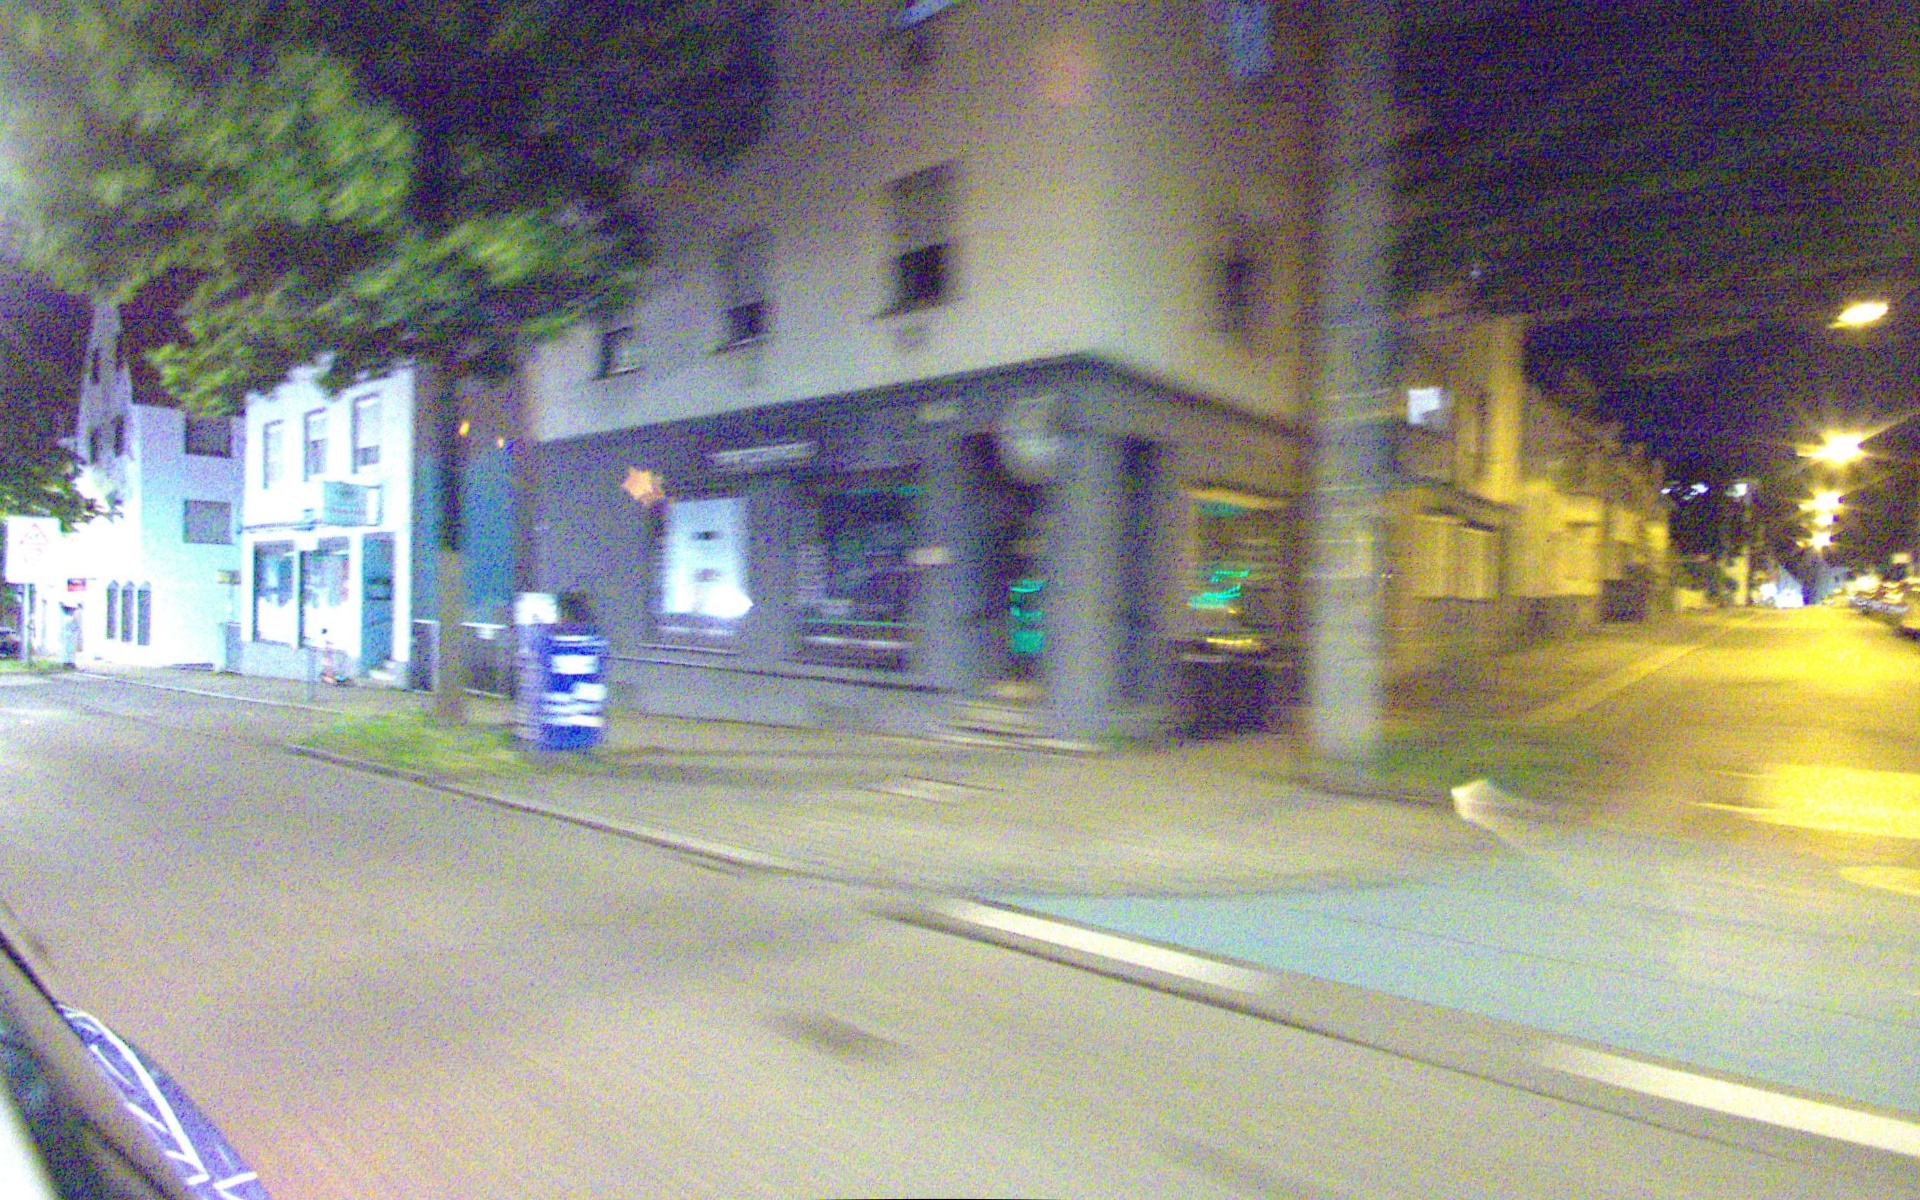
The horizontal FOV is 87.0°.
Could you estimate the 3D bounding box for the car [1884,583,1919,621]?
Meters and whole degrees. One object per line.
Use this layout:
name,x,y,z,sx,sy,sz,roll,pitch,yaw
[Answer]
car,44.072,0.059,46.756,1.936,1.709,3.884,-1,0,41

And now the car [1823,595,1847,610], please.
car,105.540,0.325,122.059,2.001,1.796,3.942,-1,0,44

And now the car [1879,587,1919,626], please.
car,40.274,0.263,42.924,1.793,1.597,3.884,-1,0,41

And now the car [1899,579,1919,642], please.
car,29.884,0.330,30.524,1.985,1.826,4.090,3,2,39

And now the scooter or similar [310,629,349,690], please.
scooter or similar,-13.414,1.256,21.520,1.335,1.235,0.328,-1,0,42

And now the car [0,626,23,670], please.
car,-34.779,1.703,35.890,4.287,1.497,1.709,-1,0,39
